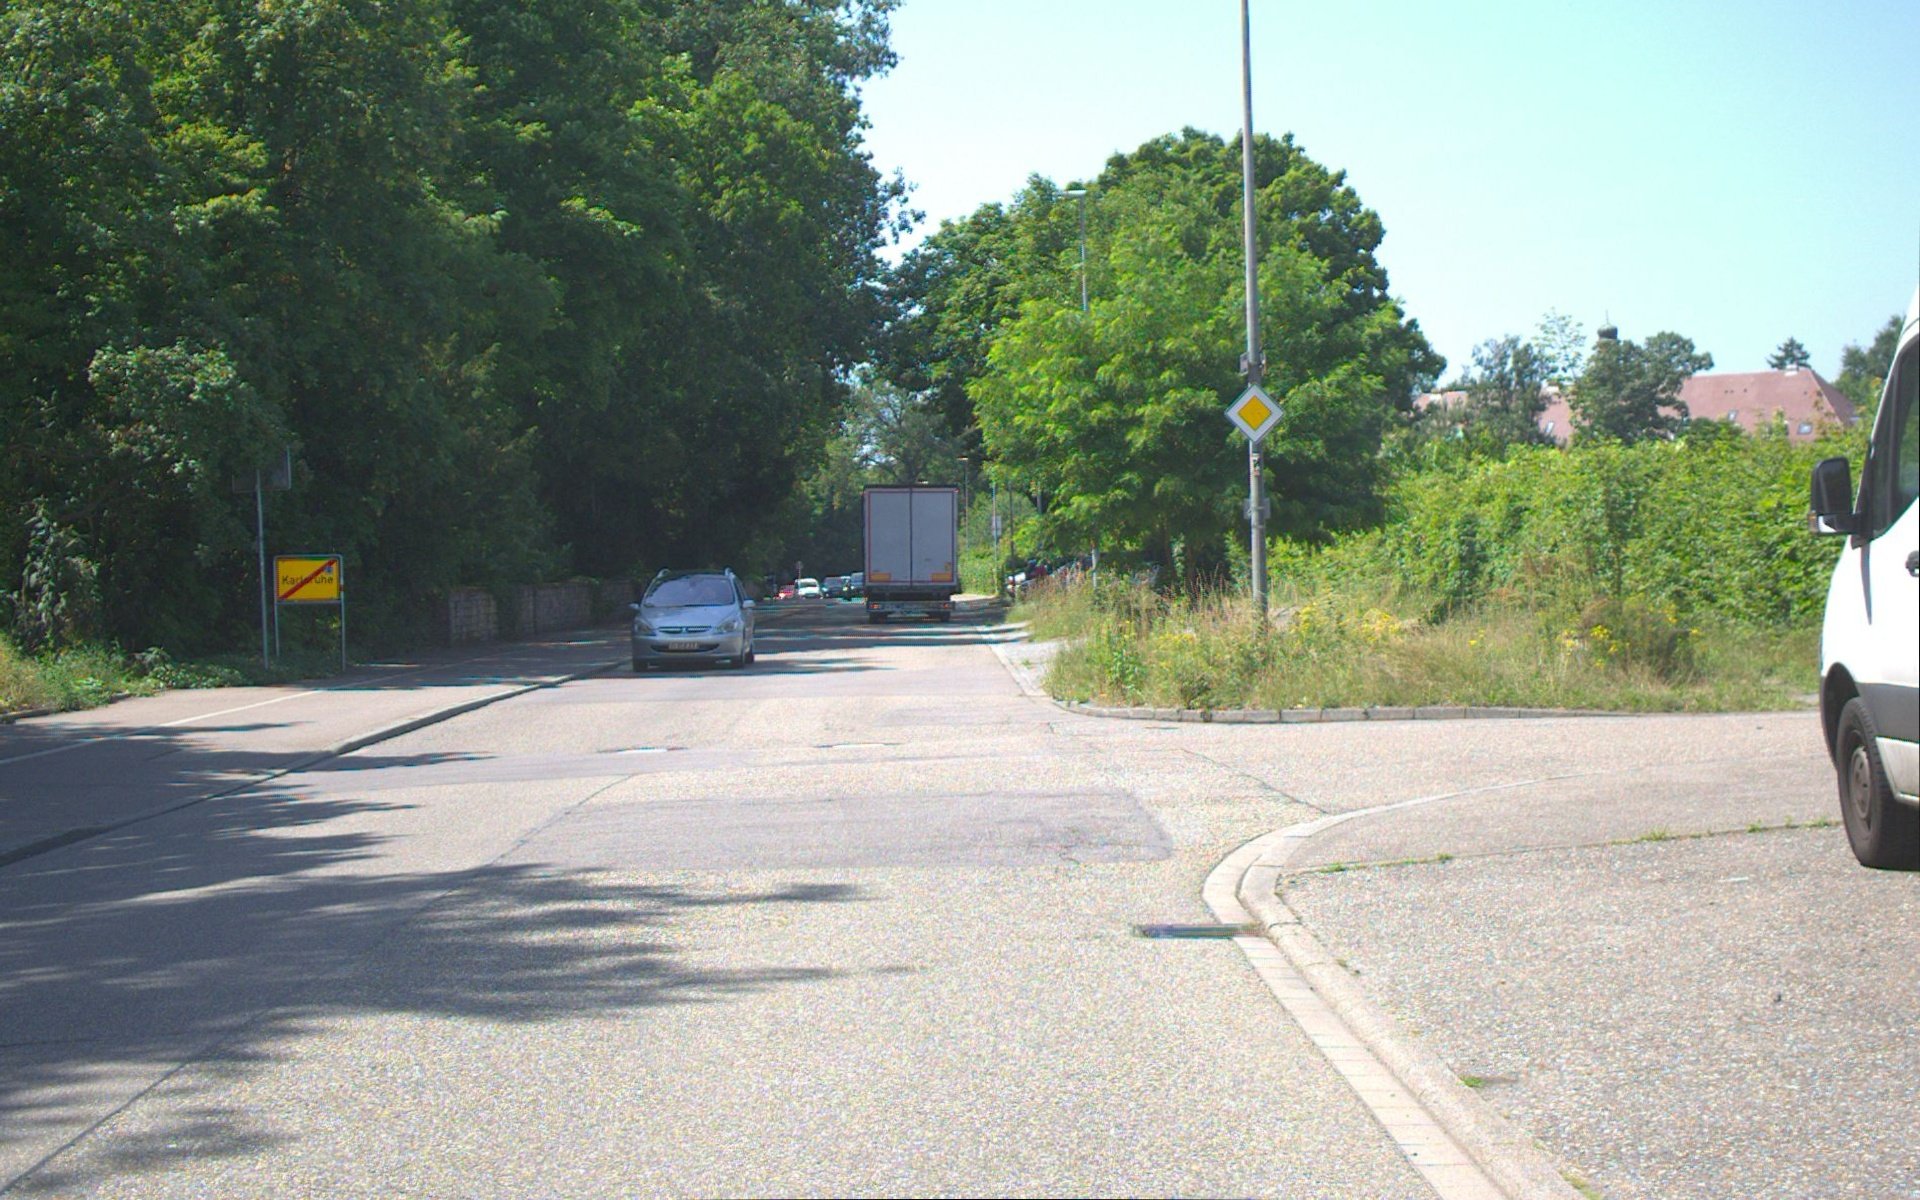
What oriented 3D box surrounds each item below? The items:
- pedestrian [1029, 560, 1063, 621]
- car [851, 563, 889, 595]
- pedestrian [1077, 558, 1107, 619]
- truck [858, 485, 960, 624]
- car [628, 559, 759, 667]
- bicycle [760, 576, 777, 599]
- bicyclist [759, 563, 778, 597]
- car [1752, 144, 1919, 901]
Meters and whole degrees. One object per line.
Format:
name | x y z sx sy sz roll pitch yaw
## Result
pedestrian | 2.426 -0.269 97.316 0.863 1.671 0.886 -2 1 -2
car | -5.057 -1.194 193.851 1.993 1.678 4.262 -2 1 0
pedestrian | 3.776 -0.331 98.503 0.739 1.732 0.886 -2 1 -2
truck | -1.404 -1.333 99.702 2.733 3.733 13.246 0 1 0
car | -4.192 0.170 54.653 1.791 1.567 4.272 -1 1 -1
bicycle | -9.796 -0.631 176.133 0.718 1.155 2.230 -2 1 0
bicyclist | -9.809 -1.029 176.122 0.832 1.710 0.957 -2 1 0
car | 4.417 -0.279 11.029 1.954 2.724 7.167 -4 1 0
